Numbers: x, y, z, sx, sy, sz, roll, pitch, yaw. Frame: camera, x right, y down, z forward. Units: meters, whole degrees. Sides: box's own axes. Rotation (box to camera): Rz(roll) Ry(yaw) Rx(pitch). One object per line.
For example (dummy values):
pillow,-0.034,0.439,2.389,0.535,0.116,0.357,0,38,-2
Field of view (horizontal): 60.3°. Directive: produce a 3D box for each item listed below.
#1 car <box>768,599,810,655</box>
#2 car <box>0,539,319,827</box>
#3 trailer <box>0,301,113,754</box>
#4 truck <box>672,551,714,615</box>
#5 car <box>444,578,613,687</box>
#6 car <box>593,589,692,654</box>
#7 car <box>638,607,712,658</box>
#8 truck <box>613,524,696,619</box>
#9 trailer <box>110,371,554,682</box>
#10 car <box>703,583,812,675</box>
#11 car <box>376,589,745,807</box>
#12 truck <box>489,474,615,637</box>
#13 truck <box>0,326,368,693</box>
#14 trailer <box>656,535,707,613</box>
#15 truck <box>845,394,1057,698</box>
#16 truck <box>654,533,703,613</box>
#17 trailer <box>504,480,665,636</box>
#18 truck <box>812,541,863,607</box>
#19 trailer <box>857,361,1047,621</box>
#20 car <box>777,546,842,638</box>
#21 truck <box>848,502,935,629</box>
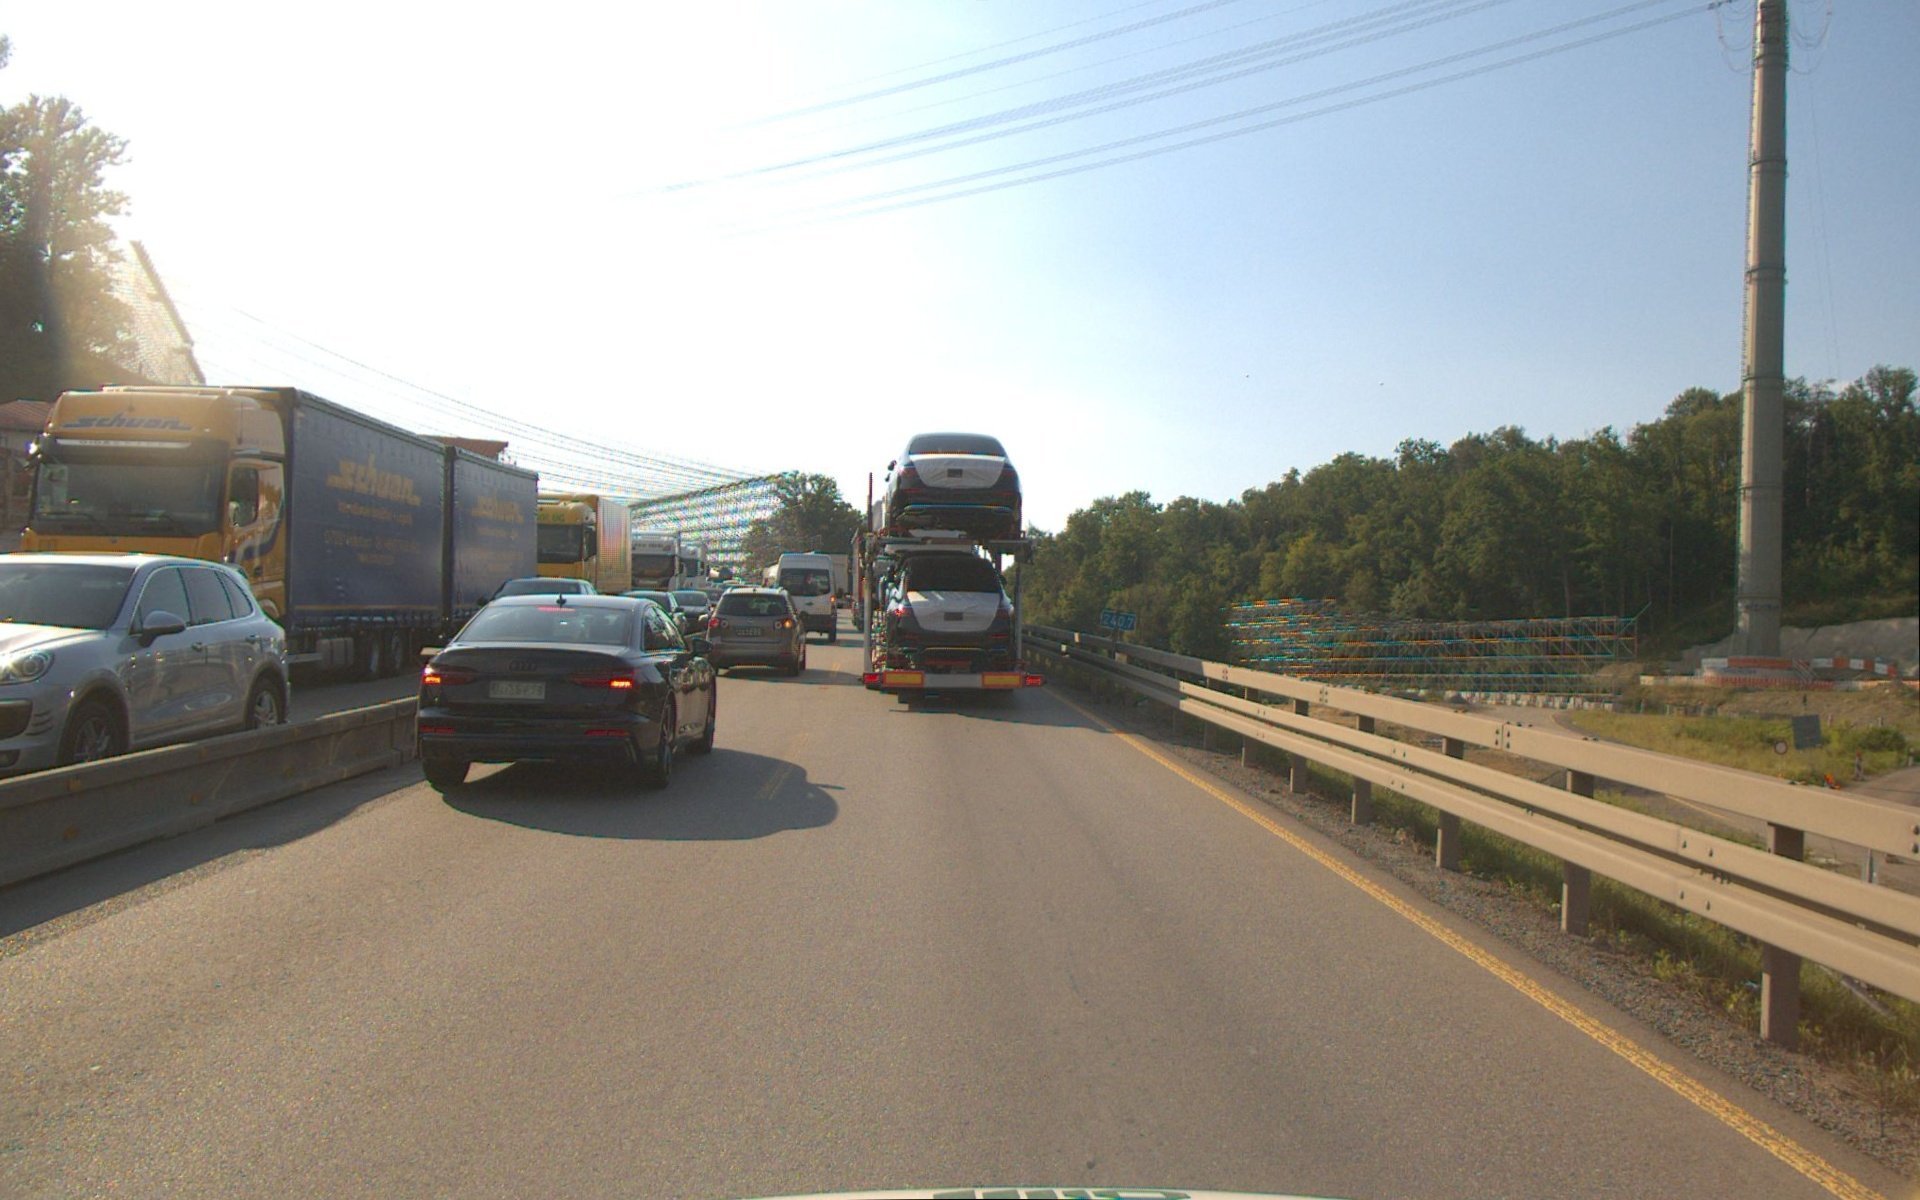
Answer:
car,-6.725,1.050,65.270,1.499,2.049,3.995,3,-1,-6
car,-6.474,0.508,12.005,1.920,1.673,4.845,0,-1,-3
trailer,-9.421,-0.627,8.064,2.693,3.882,16.041,-1,0,-1
truck,-18.864,-1.127,116.926,2.840,4.346,5.759,0,-1,-9
car,-7.399,0.547,28.806,1.888,1.731,4.688,0,-1,-3
car,-7.784,0.529,40.926,1.752,1.524,4.721,0,-1,-3
car,-8.723,0.987,50.998,1.761,1.478,4.612,0,-1,-4
truck,-14.264,-1.141,78.111,2.755,4.039,13.874,1,-1,-6
trailer,-10.566,-0.890,30.833,2.660,4.207,16.741,0,-1,-3
car,-3.778,0.541,31.422,1.666,1.615,4.145,0,-1,-2
car,-3.116,0.697,14.100,1.901,1.506,5.221,0,0,0
truck,-11.190,-1.147,45.714,2.641,4.270,4.394,0,-1,-5
truck,-10.115,-1.008,21.945,2.647,4.213,5.790,0,-1,-3
trailer,-16.600,-1.414,99.204,2.406,4.340,12.126,0,-1,-7
truck,-0.151,-0.688,25.053,2.811,4.050,5.770,0,-1,-1
truck,-15.973,-1.481,94.102,2.397,4.346,6.312,0,-1,-7
trailer,-11.762,-1.057,53.552,2.648,4.277,15.983,0,-1,-4
truck,-9.357,-2.008,126.550,3.576,4.758,11.686,1,1,-4
trailer,-0.587,-1.614,33.573,2.818,4.064,15.265,0,-1,-4
car,-4.682,-0.214,51.814,1.940,2.731,4.143,0,-1,-4
truck,-2.981,-1.384,68.524,3.165,4.758,11.686,1,1,-4
